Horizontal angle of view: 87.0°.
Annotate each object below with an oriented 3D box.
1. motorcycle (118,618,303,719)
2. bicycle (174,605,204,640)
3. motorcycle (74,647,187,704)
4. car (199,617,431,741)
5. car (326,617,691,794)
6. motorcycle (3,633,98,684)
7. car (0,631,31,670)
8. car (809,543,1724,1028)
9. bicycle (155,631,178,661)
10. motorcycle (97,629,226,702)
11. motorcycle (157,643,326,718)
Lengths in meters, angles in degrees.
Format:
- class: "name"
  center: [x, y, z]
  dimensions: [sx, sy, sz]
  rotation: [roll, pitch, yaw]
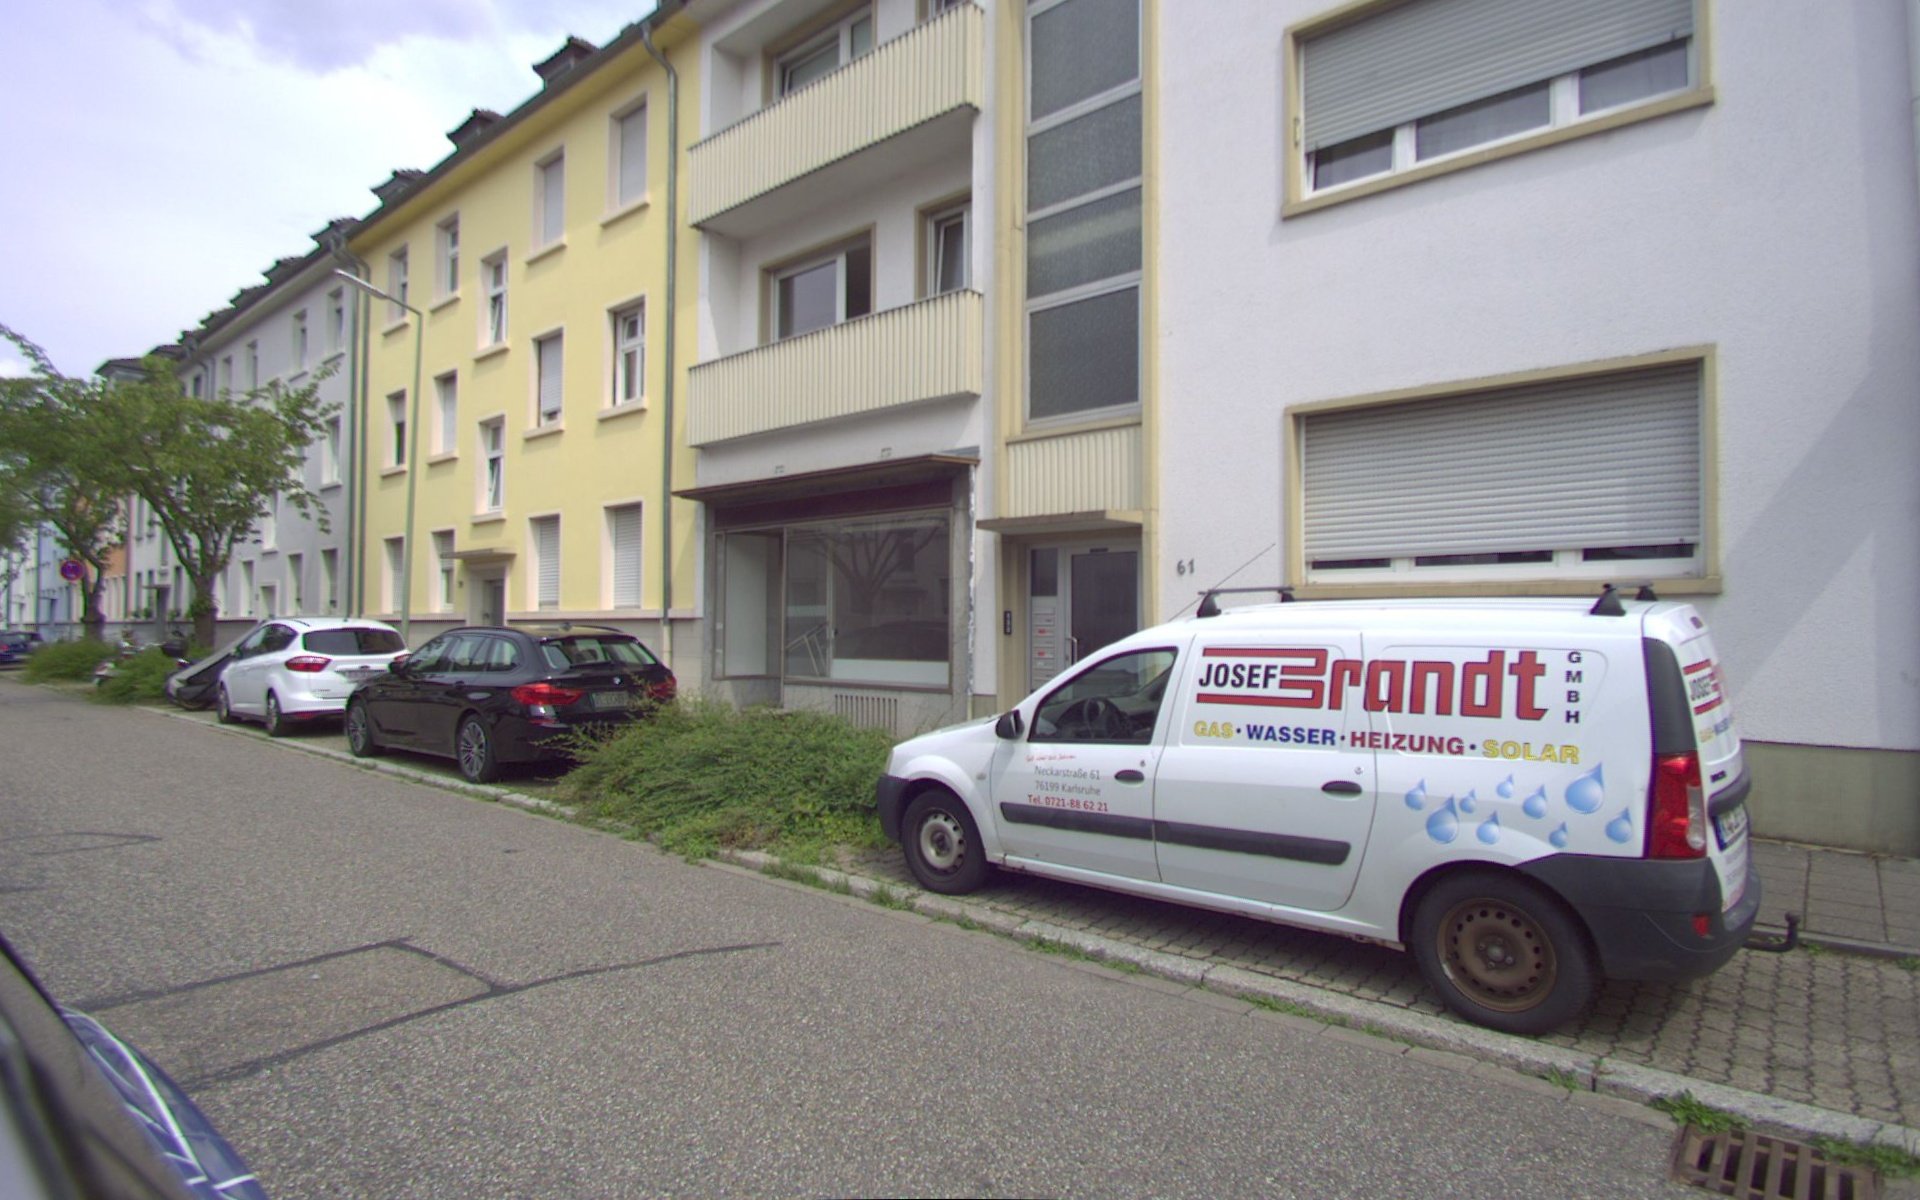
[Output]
- class: "motorcycle"
  center: [-12.888, 1.165, 17.477]
  dimensions: [2.438, 1.689, 0.939]
  rotation: [0, -3, -2]
- class: "bicycle"
  center: [-23.040, 0.676, 30.234]
  dimensions: [1.434, 1.014, 0.415]
  rotation: [-2, -4, 42]
- class: "motorcycle"
  center: [-18.397, 1.663, 22.499]
  dimensions: [0.591, 1.201, 1.903]
  rotation: [0, -3, 14]
- class: "car"
  center: [-9.615, 1.075, 14.957]
  dimensions: [4.254, 1.568, 1.739]
  rotation: [-1, -3, 41]
- class: "car"
  center: [-5.030, 0.937, 10.900]
  dimensions: [4.810, 1.503, 1.771]
  rotation: [-1, -1, 42]
- class: "motorcycle"
  center: [-26.455, 1.710, 29.483]
  dimensions: [0.782, 1.418, 2.016]
  rotation: [1, -3, 3]
- class: "car"
  center: [-39.856, 2.071, 41.650]
  dimensions: [4.089, 1.495, 1.818]
  rotation: [-1, -1, 39]
- class: "car"
  center: [1.340, 0.701, 5.527]
  dimensions: [4.380, 1.593, 1.898]
  rotation: [-1, -4, 42]
- class: "bicycle"
  center: [-25.853, 1.491, 32.956]
  dimensions: [1.434, 0.974, 0.306]
  rotation: [-2, -4, 42]
- class: "motorcycle"
  center: [-17.248, 1.411, 21.945]
  dimensions: [0.591, 1.493, 2.228]
  rotation: [0, -3, 14]
- class: "motorcycle"
  center: [-13.255, 1.492, 18.772]
  dimensions: [2.414, 1.321, 0.645]
  rotation: [3, -4, -28]
